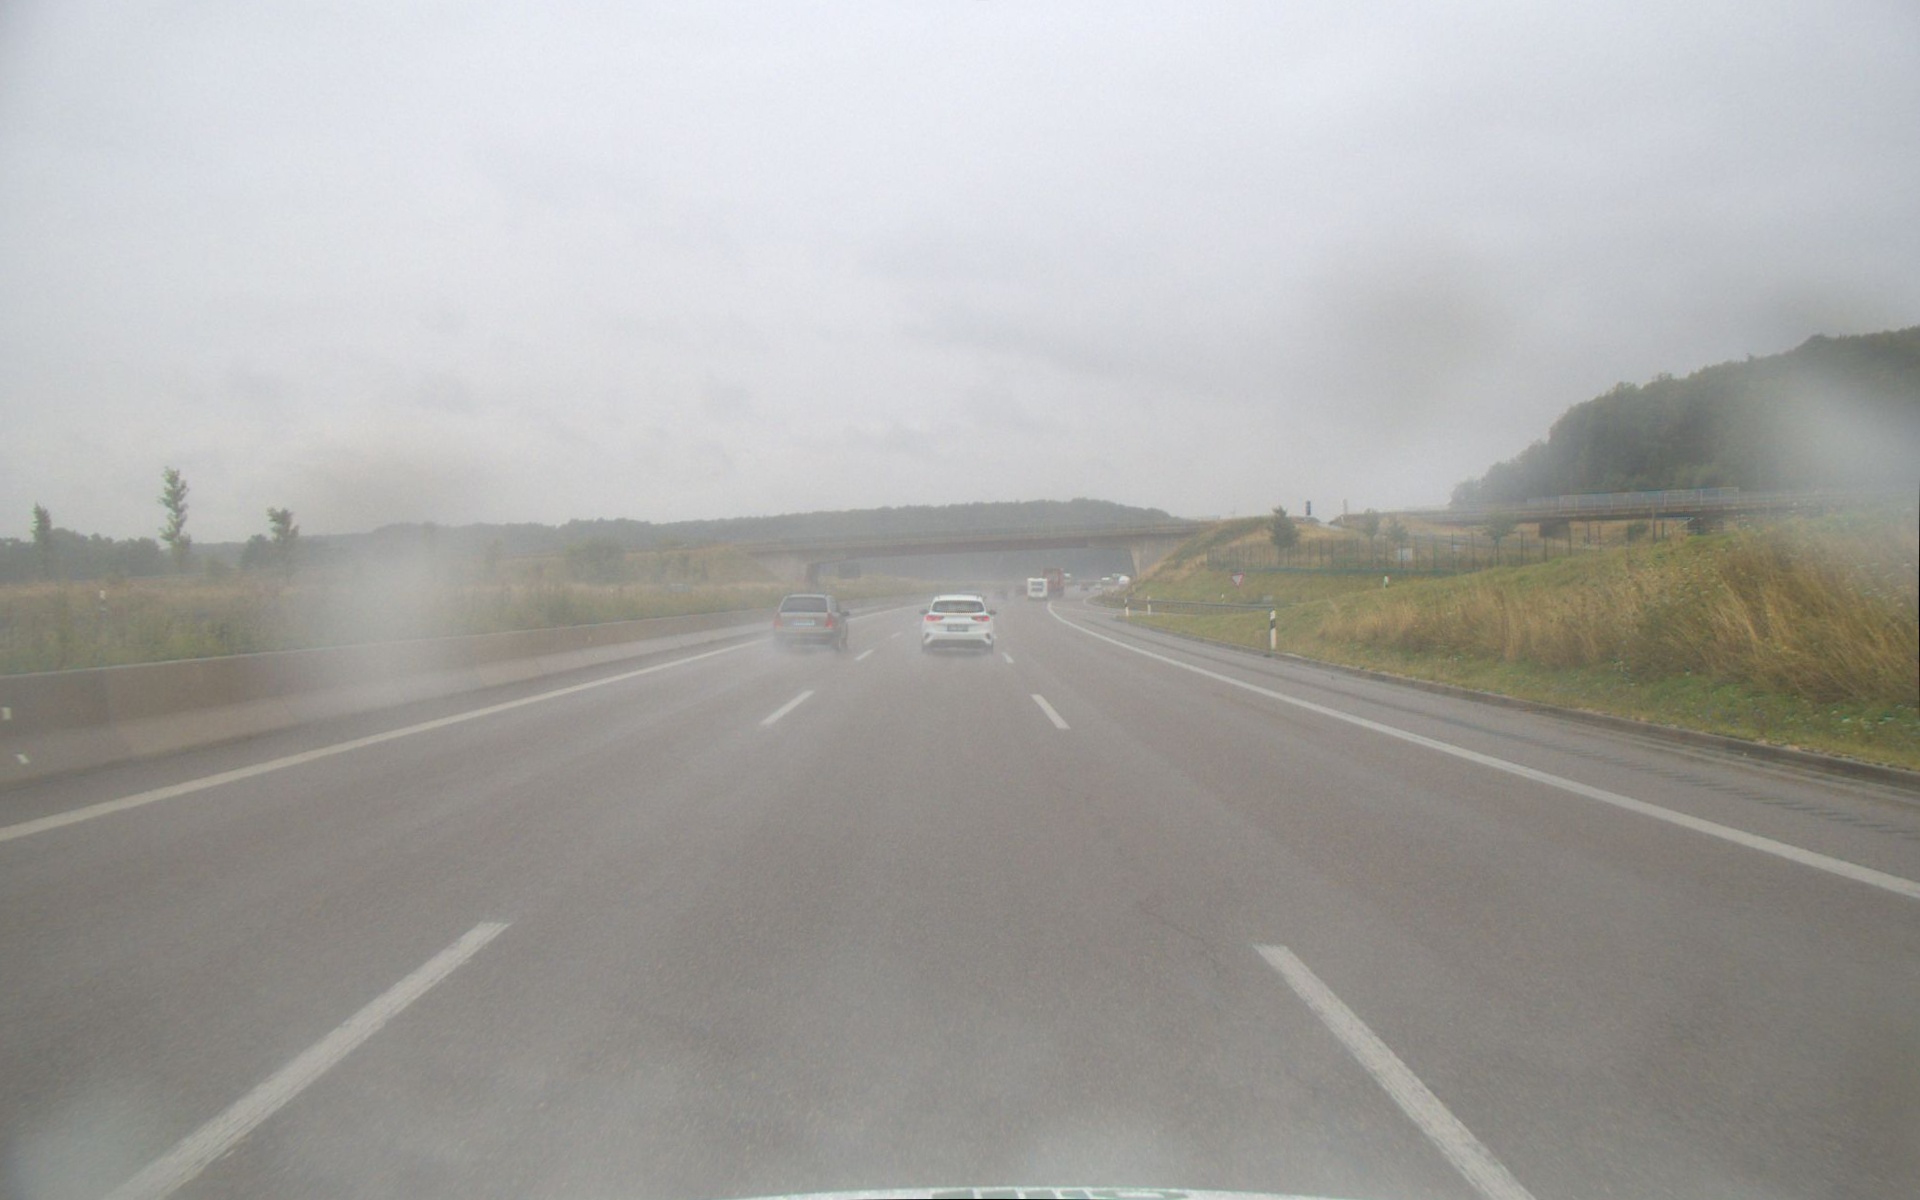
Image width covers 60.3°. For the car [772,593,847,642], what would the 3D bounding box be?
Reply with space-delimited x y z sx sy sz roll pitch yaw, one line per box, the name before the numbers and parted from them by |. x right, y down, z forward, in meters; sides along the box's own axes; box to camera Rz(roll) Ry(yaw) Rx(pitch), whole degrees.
car | -3.883 0.455 43.199 1.787 1.176 4.210 1 -1 -3

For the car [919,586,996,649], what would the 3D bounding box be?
car | -0.081 0.425 41.699 1.829 1.488 3.999 0 0 -1

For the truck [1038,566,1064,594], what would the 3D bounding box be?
truck | 13.236 -2.958 242.131 3.454 3.808 11.430 1 1 2

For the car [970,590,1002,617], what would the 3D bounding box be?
car | 1.607 0.232 104.371 1.953 1.646 4.000 0 1 0

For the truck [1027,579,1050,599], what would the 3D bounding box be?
truck | 8.964 -1.237 187.588 2.357 2.291 4.696 0 0 6
